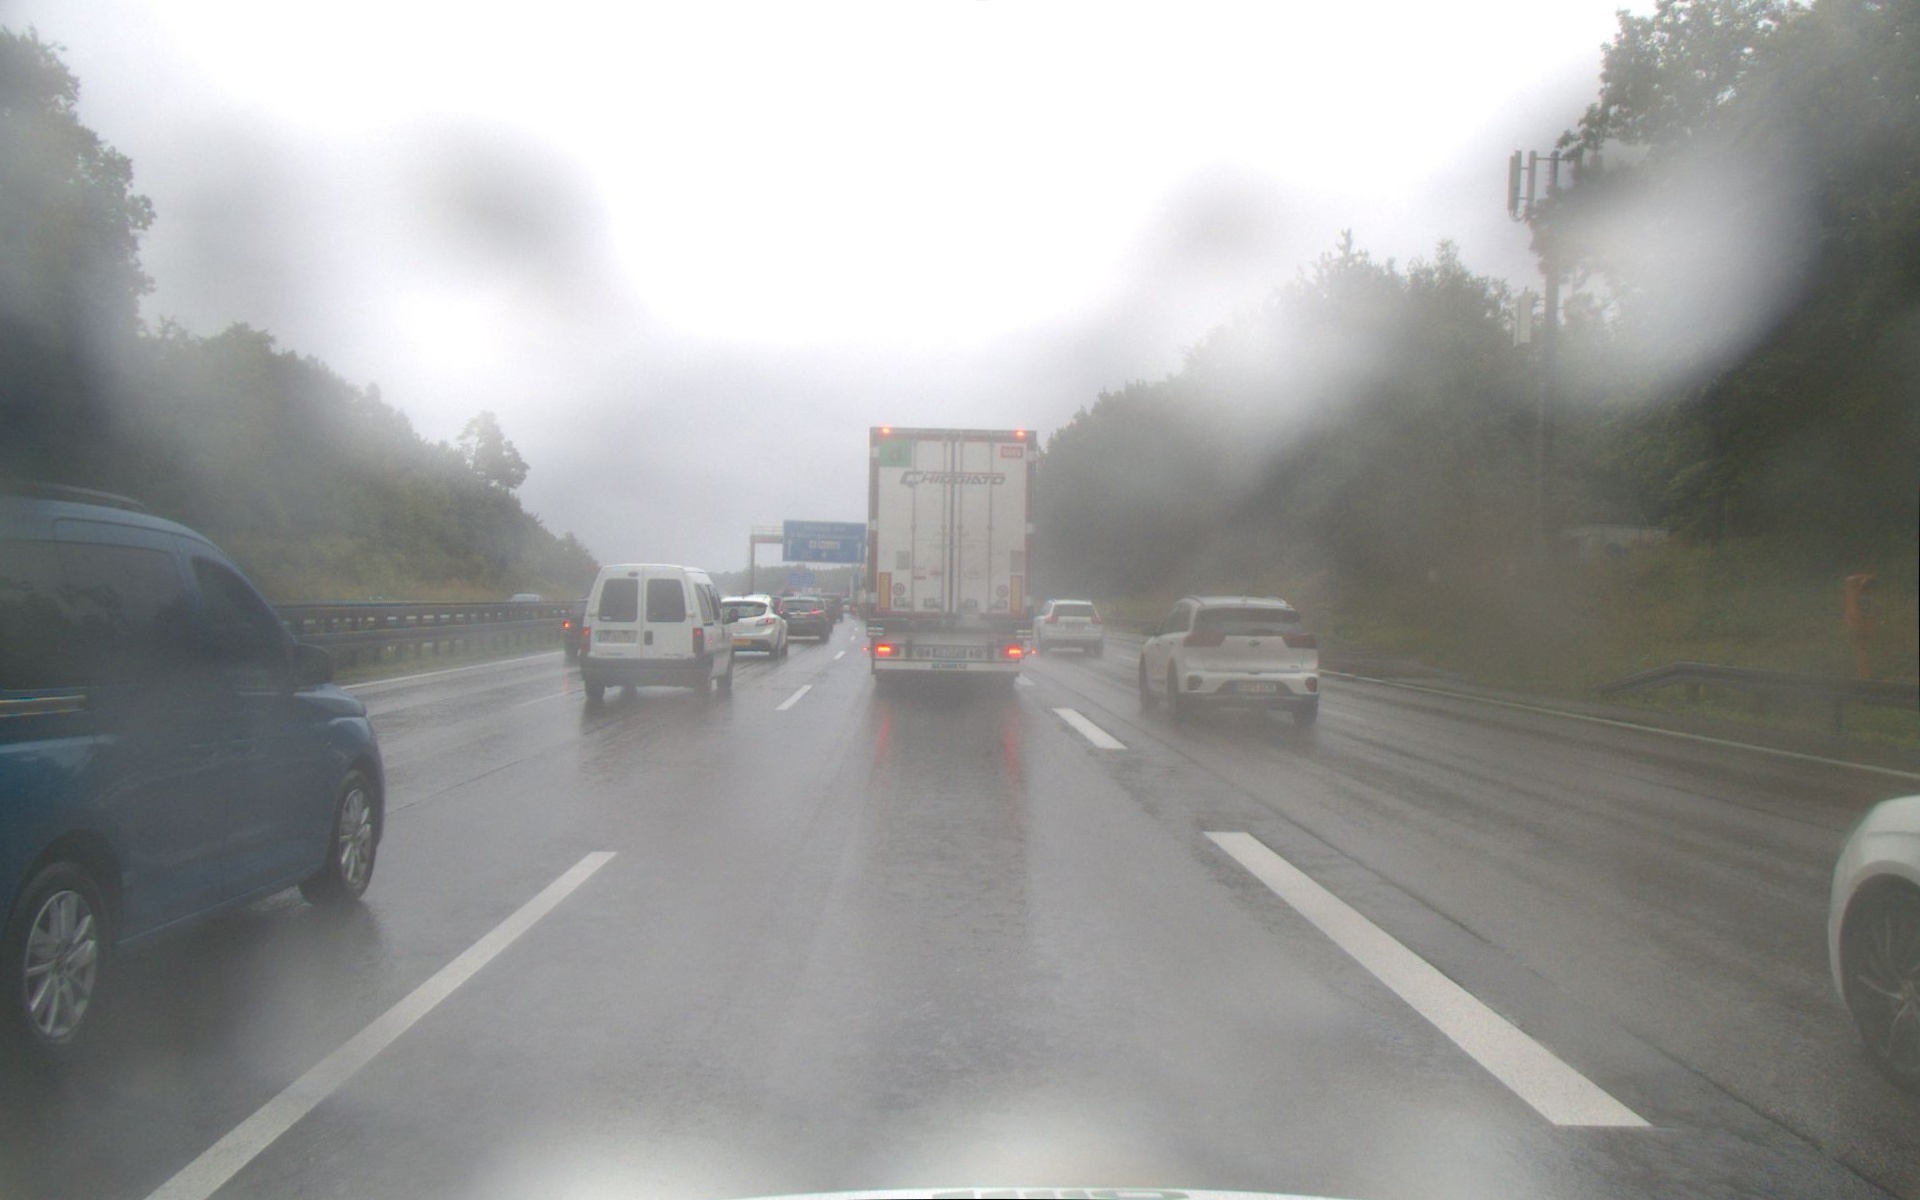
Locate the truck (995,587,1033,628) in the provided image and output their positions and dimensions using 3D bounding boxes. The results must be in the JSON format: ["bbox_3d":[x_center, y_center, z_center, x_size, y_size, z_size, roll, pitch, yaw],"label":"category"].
[{"bbox_3d":[3.990,0.528,123.275,2.536,2.992,6.455,1,0,0],"label":"truck"}]

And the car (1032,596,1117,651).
[{"bbox_3d":[3.191,0.630,46.801,1.966,1.418,4.566,1,0,-2],"label":"car"}]

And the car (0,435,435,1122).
[{"bbox_3d":[-3.813,0.486,5.903,2.223,1.945,5.016,1,0,0],"label":"car"}]

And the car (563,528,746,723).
[{"bbox_3d":[-4.471,0.340,24.973,2.169,2.618,5.011,1,0,-5],"label":"car"}]

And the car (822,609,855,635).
[{"bbox_3d":[-6.853,1.204,93.350,1.809,1.354,4.463,1,0,-4],"label":"car"}]

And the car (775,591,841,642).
[{"bbox_3d":[-5.104,0.533,56.001,1.808,1.619,4.466,1,0,0],"label":"car"}]

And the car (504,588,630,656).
[{"bbox_3d":[-9.447,0.485,40.171,2.048,1.531,4.753,0,0,-2],"label":"car"}]

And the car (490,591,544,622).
[{"bbox_3d":[-22.718,0.305,84.970,1.799,1.523,4.606,1,0,-3],"label":"car"}]

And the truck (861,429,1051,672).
[{"bbox_3d":[-0.190,-0.704,30.620,2.814,3.624,11.298,1,0,-1],"label":"truck"}]

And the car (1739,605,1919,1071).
[{"bbox_3d":[3.951,0.770,4.147,1.851,1.450,4.482,1,0,0],"label":"car"}]

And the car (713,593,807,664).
[{"bbox_3d":[-4.808,0.656,40.280,1.808,1.619,4.071,1,0,0],"label":"car"}]

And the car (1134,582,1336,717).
[{"bbox_3d":[3.429,0.561,21.402,1.808,1.549,4.343,1,0,-1],"label":"car"}]
